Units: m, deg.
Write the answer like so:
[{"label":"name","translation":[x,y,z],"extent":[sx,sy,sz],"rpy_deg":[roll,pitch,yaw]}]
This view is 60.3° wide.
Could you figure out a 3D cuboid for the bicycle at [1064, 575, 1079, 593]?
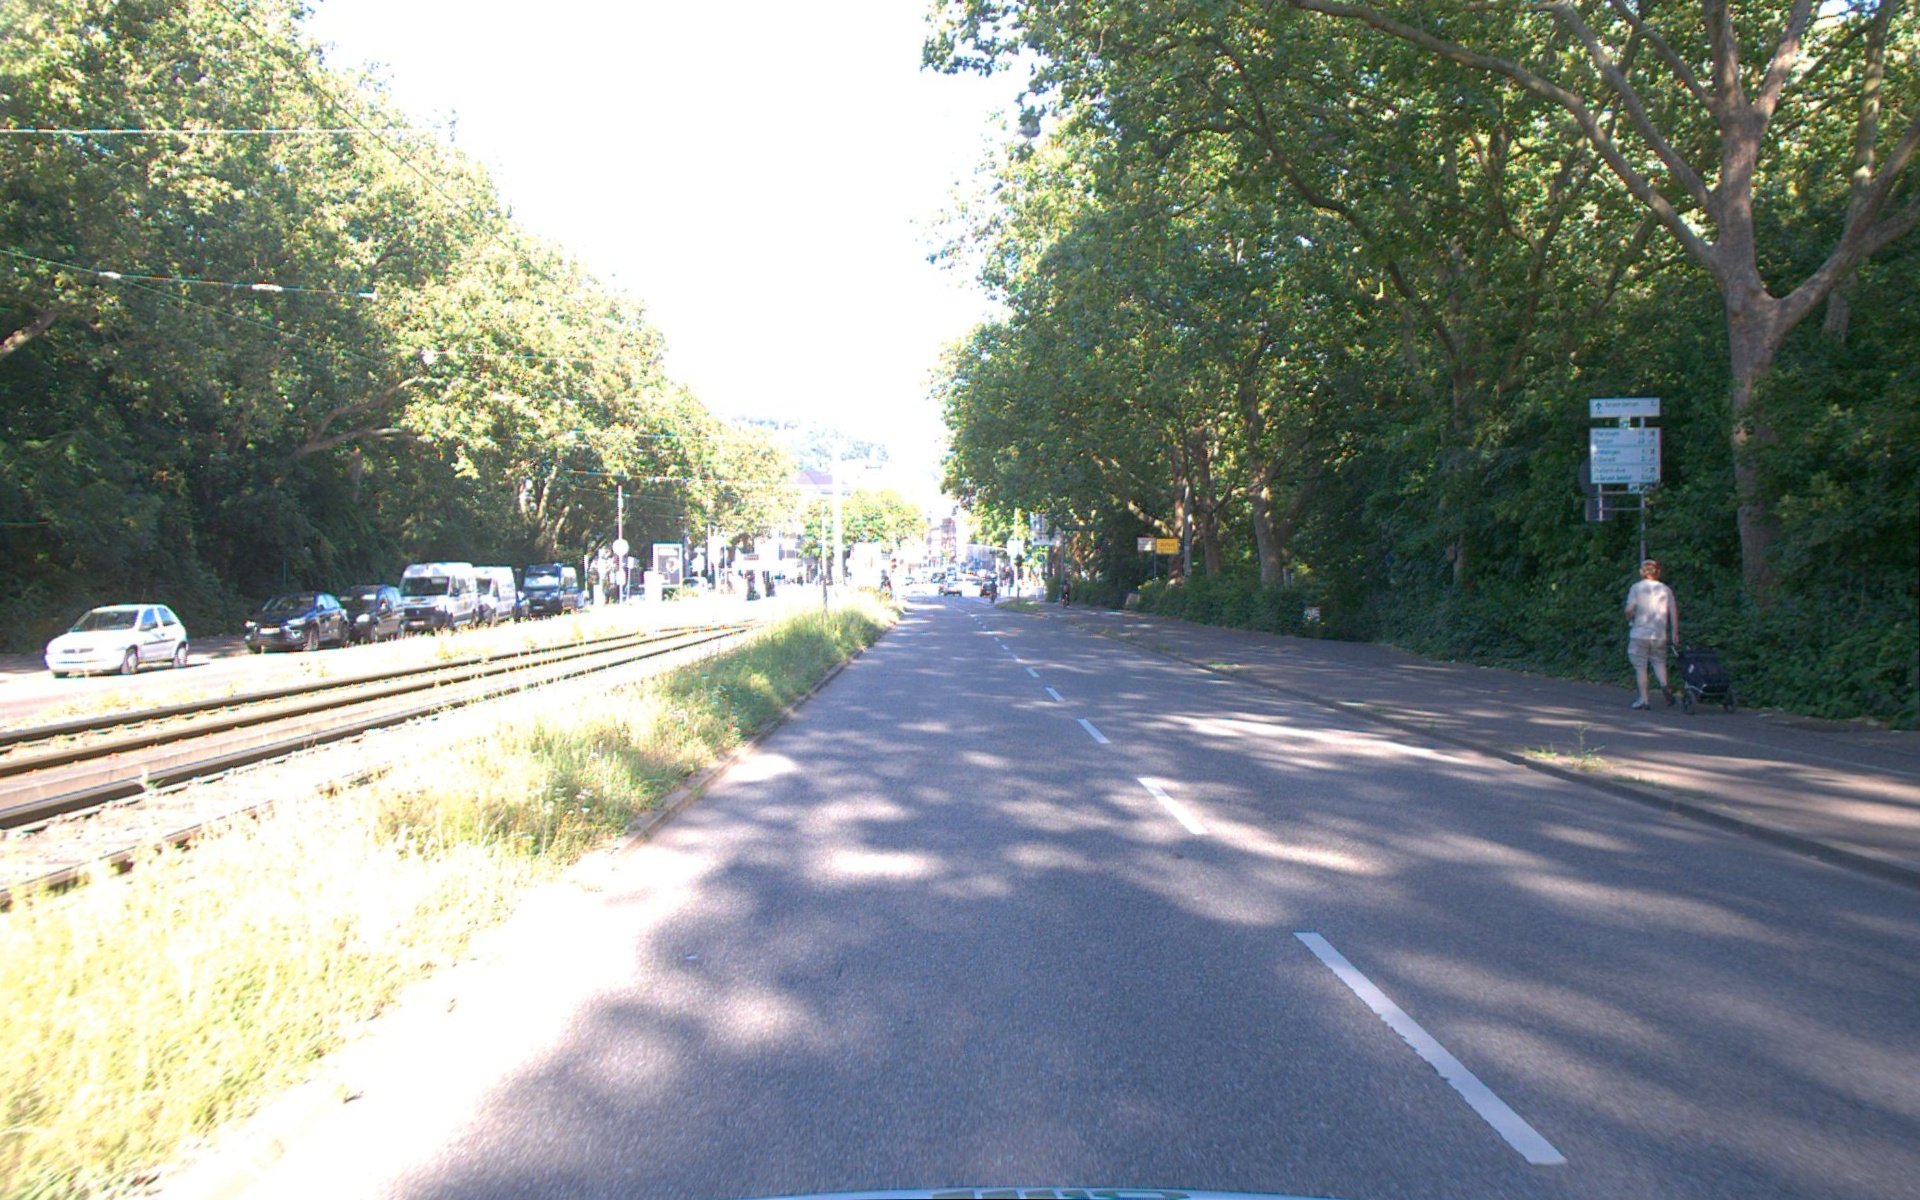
[{"label":"bicycle","translation":[6.910,-0.996,102.602],"extent":[0.685,1.127,1.929],"rpy_deg":[-1,1,-3]}]

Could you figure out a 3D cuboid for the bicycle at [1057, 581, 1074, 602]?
[{"label":"bicycle","translation":[5.732,-0.465,90.216],"extent":[0.751,1.127,1.799],"rpy_deg":[0,1,-3]}]

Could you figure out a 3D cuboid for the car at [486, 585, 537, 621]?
[{"label":"car","translation":[-20.421,0.133,75.341],"extent":[1.620,1.539,3.262],"rpy_deg":[-2,0,-5]}]

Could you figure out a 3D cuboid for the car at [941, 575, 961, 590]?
[{"label":"car","translation":[-0.940,-1.784,170.742],"extent":[1.890,1.498,4.853],"rpy_deg":[0,1,-2]}]

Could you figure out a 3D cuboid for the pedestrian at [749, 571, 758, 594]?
[{"label":"pedestrian","translation":[-15.808,-1.327,126.615],"extent":[0.635,1.803,0.650],"rpy_deg":[1,0,0]}]

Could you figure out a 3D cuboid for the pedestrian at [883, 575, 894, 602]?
[{"label":"pedestrian","translation":[-4.181,-0.668,97.036],"extent":[0.578,1.546,0.514],"rpy_deg":[-2,0,-2]}]

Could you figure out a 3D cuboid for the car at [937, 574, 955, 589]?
[{"label":"car","translation":[-1.489,-1.993,178.026],"extent":[1.764,1.666,4.043],"rpy_deg":[0,1,-3]}]

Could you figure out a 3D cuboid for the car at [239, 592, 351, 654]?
[{"label":"car","translation":[-18.434,0.610,46.023],"extent":[1.705,1.582,3.879],"rpy_deg":[-2,0,-4]}]

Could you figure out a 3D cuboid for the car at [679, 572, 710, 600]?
[{"label":"car","translation":[-21.828,-1.120,136.112],"extent":[2.026,2.161,5.086],"rpy_deg":[-2,0,-4]}]

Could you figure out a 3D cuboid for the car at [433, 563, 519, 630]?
[{"label":"car","translation":[-19.943,-0.151,68.481],"extent":[2.141,2.564,6.265],"rpy_deg":[-2,0,-5]}]

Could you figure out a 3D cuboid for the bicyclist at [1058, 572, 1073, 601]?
[{"label":"bicyclist","translation":[5.736,-0.749,90.218],"extent":[0.751,1.539,0.650],"rpy_deg":[0,1,-3]}]

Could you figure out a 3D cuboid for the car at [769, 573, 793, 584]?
[{"label":"car","translation":[-27.877,-3.310,257.407],"extent":[1.759,1.677,4.006],"rpy_deg":[0,1,27]}]

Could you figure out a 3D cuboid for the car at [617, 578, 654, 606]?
[{"label":"car","translation":[-20.906,-0.507,106.669],"extent":[1.866,1.680,3.969],"rpy_deg":[-2,0,-5]}]

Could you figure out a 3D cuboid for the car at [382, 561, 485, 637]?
[{"label":"car","translation":[-19.199,-0.053,60.647],"extent":[2.140,2.564,6.045],"rpy_deg":[-2,0,-4]}]

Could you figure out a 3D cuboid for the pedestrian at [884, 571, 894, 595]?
[{"label":"pedestrian","translation":[-5.148,-1.254,119.927],"extent":[0.727,1.724,0.791],"rpy_deg":[1,0,-2]}]

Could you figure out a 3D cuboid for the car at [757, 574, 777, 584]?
[{"label":"car","translation":[-30.269,-3.281,259.328],"extent":[1.756,1.536,4.013],"rpy_deg":[0,1,16]}]

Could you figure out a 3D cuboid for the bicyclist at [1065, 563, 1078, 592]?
[{"label":"bicyclist","translation":[6.909,-1.402,102.601],"extent":[0.685,1.758,1.079],"rpy_deg":[-1,1,-3]}]

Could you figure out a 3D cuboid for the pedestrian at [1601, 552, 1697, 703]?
[{"label":"pedestrian","translation":[7.866,0.301,18.909],"extent":[0.635,1.664,0.927],"rpy_deg":[-3,0,-1]}]

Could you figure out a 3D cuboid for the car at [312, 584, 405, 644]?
[{"label":"car","translation":[-18.965,0.423,52.300],"extent":[1.705,1.758,3.879],"rpy_deg":[-2,0,-4]}]

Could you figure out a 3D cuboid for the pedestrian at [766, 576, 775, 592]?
[{"label":"pedestrian","translation":[-16.316,-1.342,142.355],"extent":[0.656,1.347,0.756],"rpy_deg":[-3,1,-4]}]

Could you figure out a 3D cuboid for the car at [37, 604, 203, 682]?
[{"label":"car","translation":[-17.659,0.854,34.951],"extent":[1.705,1.462,3.849],"rpy_deg":[-2,0,-4]}]

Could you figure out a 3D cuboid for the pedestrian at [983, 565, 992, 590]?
[{"label":"pedestrian","translation":[2.086,-1.680,124.761],"extent":[0.643,1.903,0.677],"rpy_deg":[0,1,-3]}]

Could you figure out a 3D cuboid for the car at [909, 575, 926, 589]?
[{"label":"car","translation":[-4.589,-1.933,179.673],"extent":[1.772,1.478,3.998],"rpy_deg":[0,1,-3]}]

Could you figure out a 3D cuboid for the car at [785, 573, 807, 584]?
[{"label":"car","translation":[-25.446,-3.323,256.798],"extent":[1.881,1.677,4.182],"rpy_deg":[0,1,18]}]

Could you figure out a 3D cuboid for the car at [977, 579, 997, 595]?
[{"label":"car","translation":[2.680,-1.311,165.855],"extent":[1.764,1.464,4.044],"rpy_deg":[1,1,-2]}]

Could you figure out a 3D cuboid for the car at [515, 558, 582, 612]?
[{"label":"car","translation":[-20.737,-0.742,83.543],"extent":[2.140,2.564,6.028],"rpy_deg":[-2,0,-4]}]

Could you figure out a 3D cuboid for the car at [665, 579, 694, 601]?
[{"label":"car","translation":[-21.567,-0.776,127.309],"extent":[1.759,1.536,4.338],"rpy_deg":[-2,0,-4]}]
